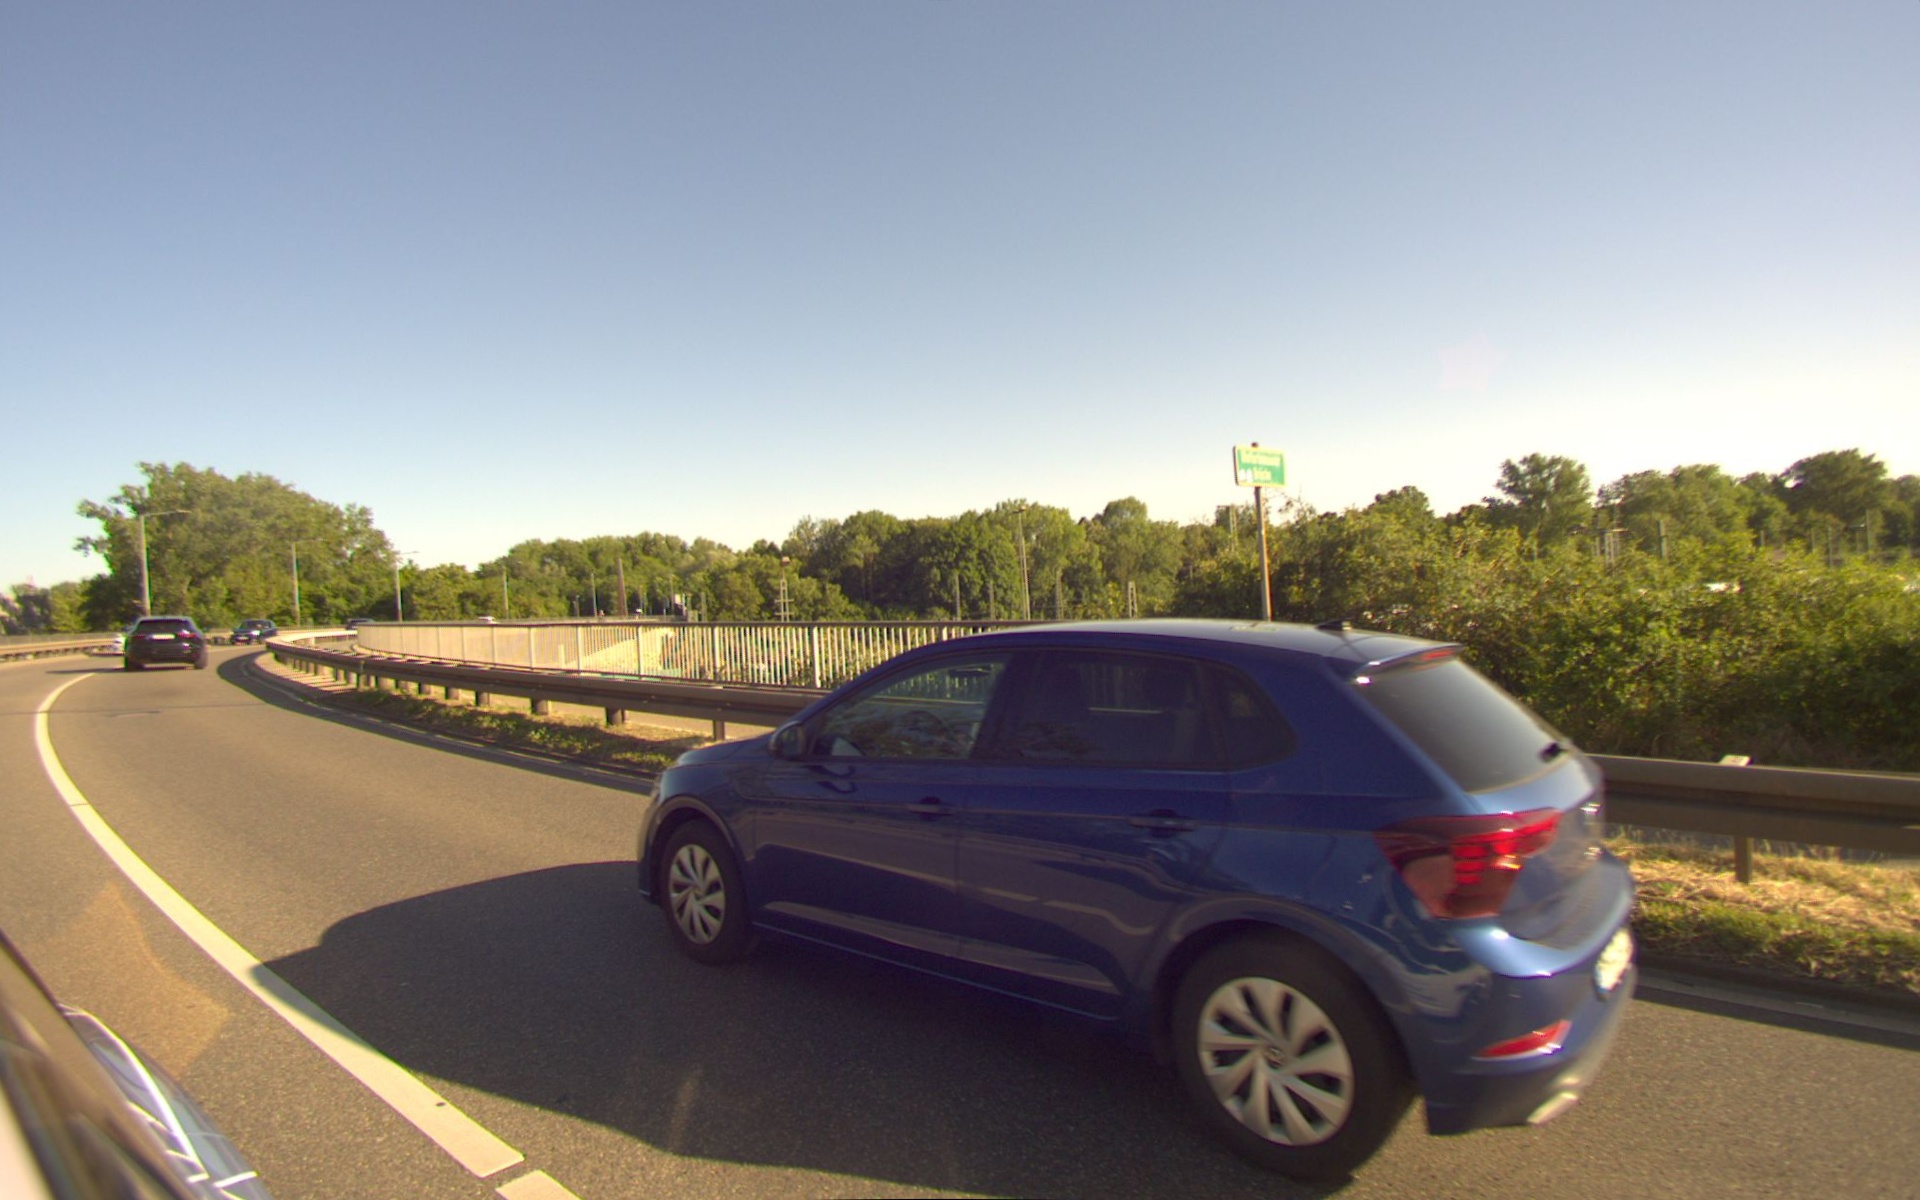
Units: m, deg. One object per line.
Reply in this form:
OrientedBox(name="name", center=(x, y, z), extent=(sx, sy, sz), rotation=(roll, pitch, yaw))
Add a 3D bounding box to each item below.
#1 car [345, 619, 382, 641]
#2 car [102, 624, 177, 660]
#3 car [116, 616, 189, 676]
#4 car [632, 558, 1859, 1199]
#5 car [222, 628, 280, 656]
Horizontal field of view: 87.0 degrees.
OrientedBox(name="car", center=(-46.959, 2.323, 79.692), extent=(1.655, 1.641, 3.616), rotation=(-1, 0, -16))
OrientedBox(name="car", center=(-38.533, 1.948, 47.619), extent=(2.114, 1.579, 4.210), rotation=(0, -1, -31))
OrientedBox(name="car", center=(-24.634, 1.352, 30.953), extent=(1.657, 1.668, 3.866), rotation=(-1, 0, -38))
OrientedBox(name="car", center=(0.623, 0.675, 3.766), extent=(3.997, 1.462, 1.662), rotation=(-1, 0, 40))
OrientedBox(name="car", center=(-46.315, 2.719, 66.161), extent=(1.657, 1.717, 3.612), rotation=(-1, 0, -9))
